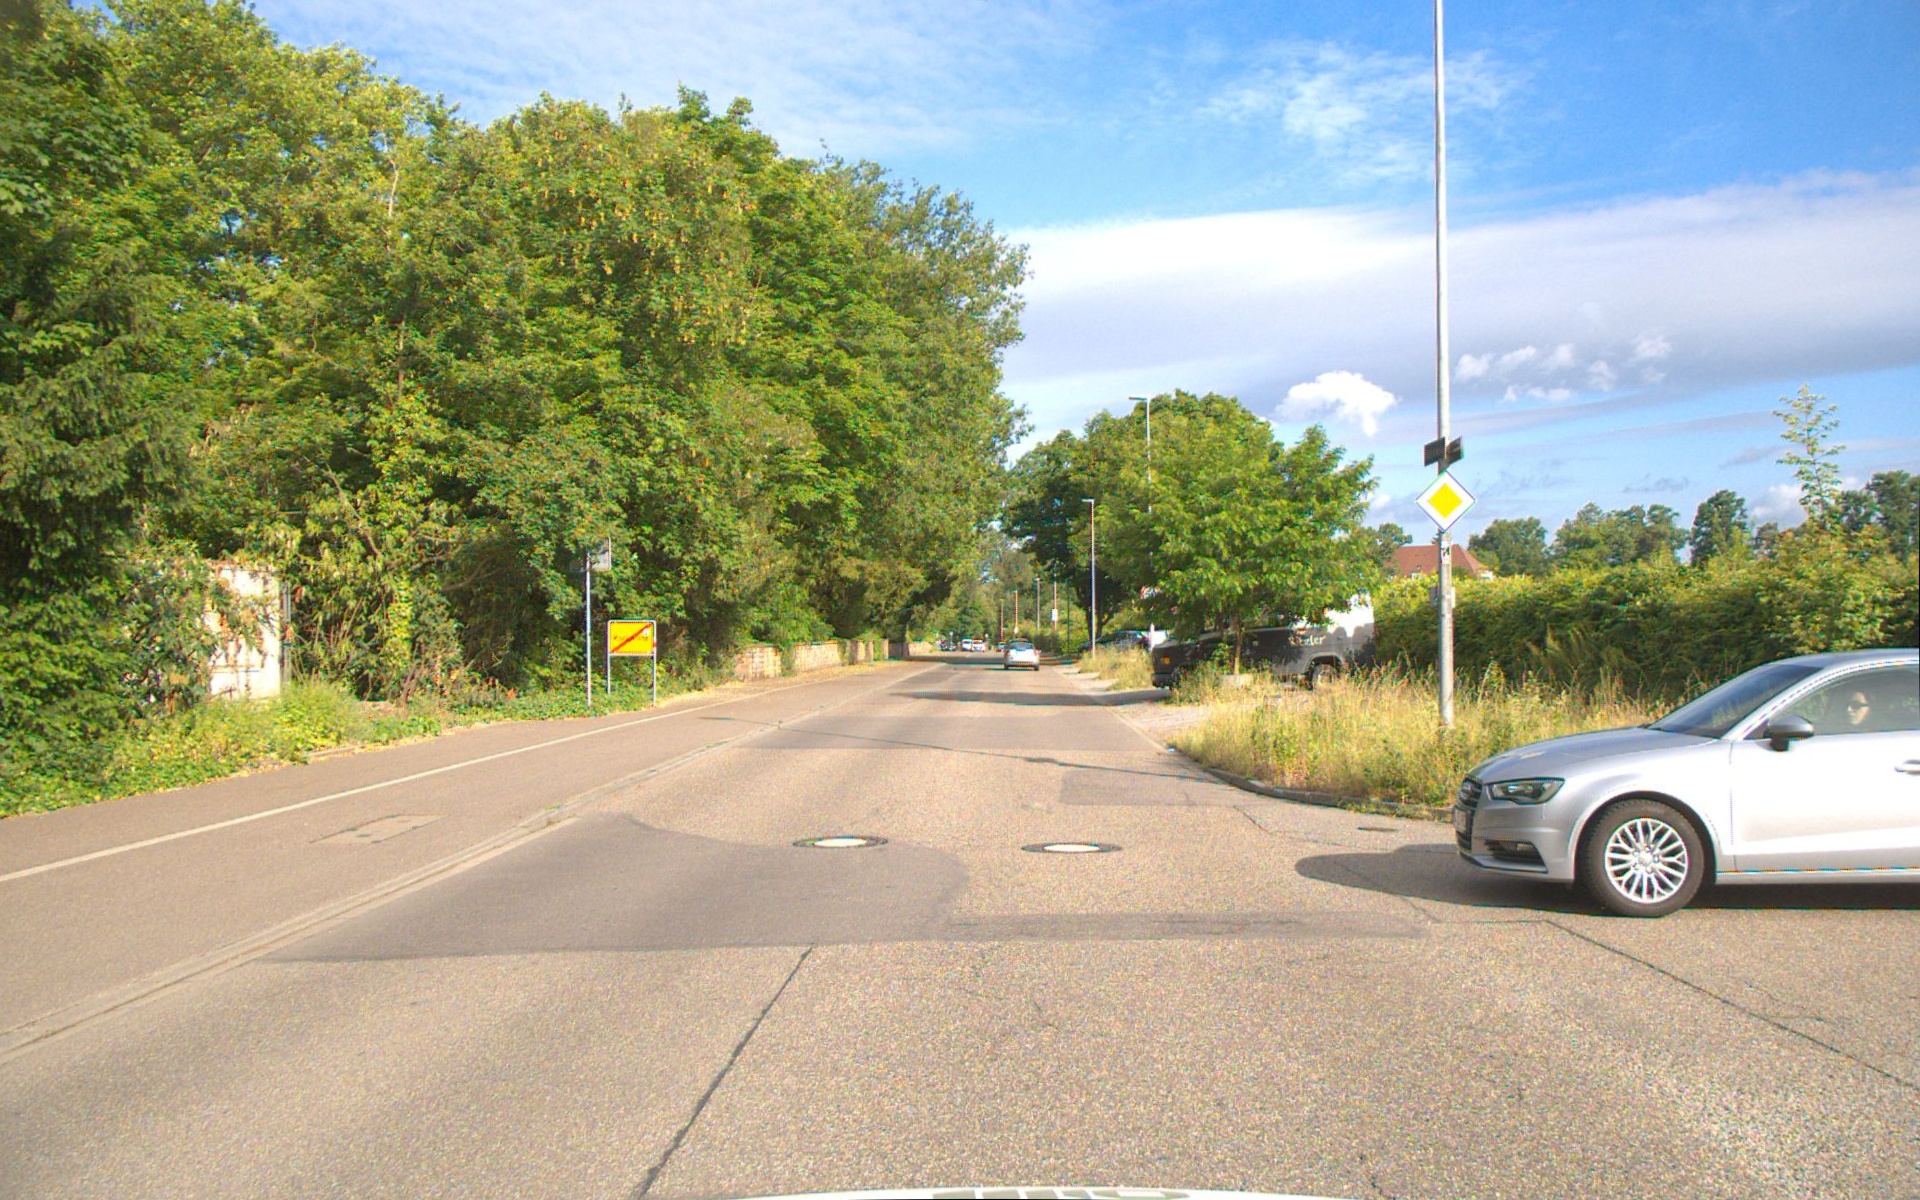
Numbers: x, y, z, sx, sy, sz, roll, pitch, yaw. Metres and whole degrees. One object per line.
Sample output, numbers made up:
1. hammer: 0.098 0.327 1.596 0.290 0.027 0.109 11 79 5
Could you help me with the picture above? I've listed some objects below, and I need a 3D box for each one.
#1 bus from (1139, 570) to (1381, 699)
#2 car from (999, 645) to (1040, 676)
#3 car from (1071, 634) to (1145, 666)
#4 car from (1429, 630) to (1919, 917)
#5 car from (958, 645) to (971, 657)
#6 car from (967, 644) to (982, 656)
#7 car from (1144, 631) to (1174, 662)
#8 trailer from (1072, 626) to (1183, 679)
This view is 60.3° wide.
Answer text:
1. bus: 7.042 0.799 39.214 5.256 2.795 2.068 -2 -1 -1
2. car: 2.835 2.893 79.651 1.847 1.396 4.054 -1 -1 1
3. car: 8.994 3.031 100.858 4.312 1.675 2.000 -3 -2 2
4. car: 5.061 0.923 9.541 4.269 1.468 1.934 -2 -2 8
5. car: 0.654 7.373 238.745 1.847 1.642 4.054 -1 -1 1
6. car: 1.776 6.310 208.247 1.848 1.396 4.053 -1 -1 -1
7. car: 11.916 2.769 98.927 1.322 1.661 4.115 -3 -1 12
8. trailer: 6.353 1.969 62.682 4.064 1.867 1.917 -2 -2 5
